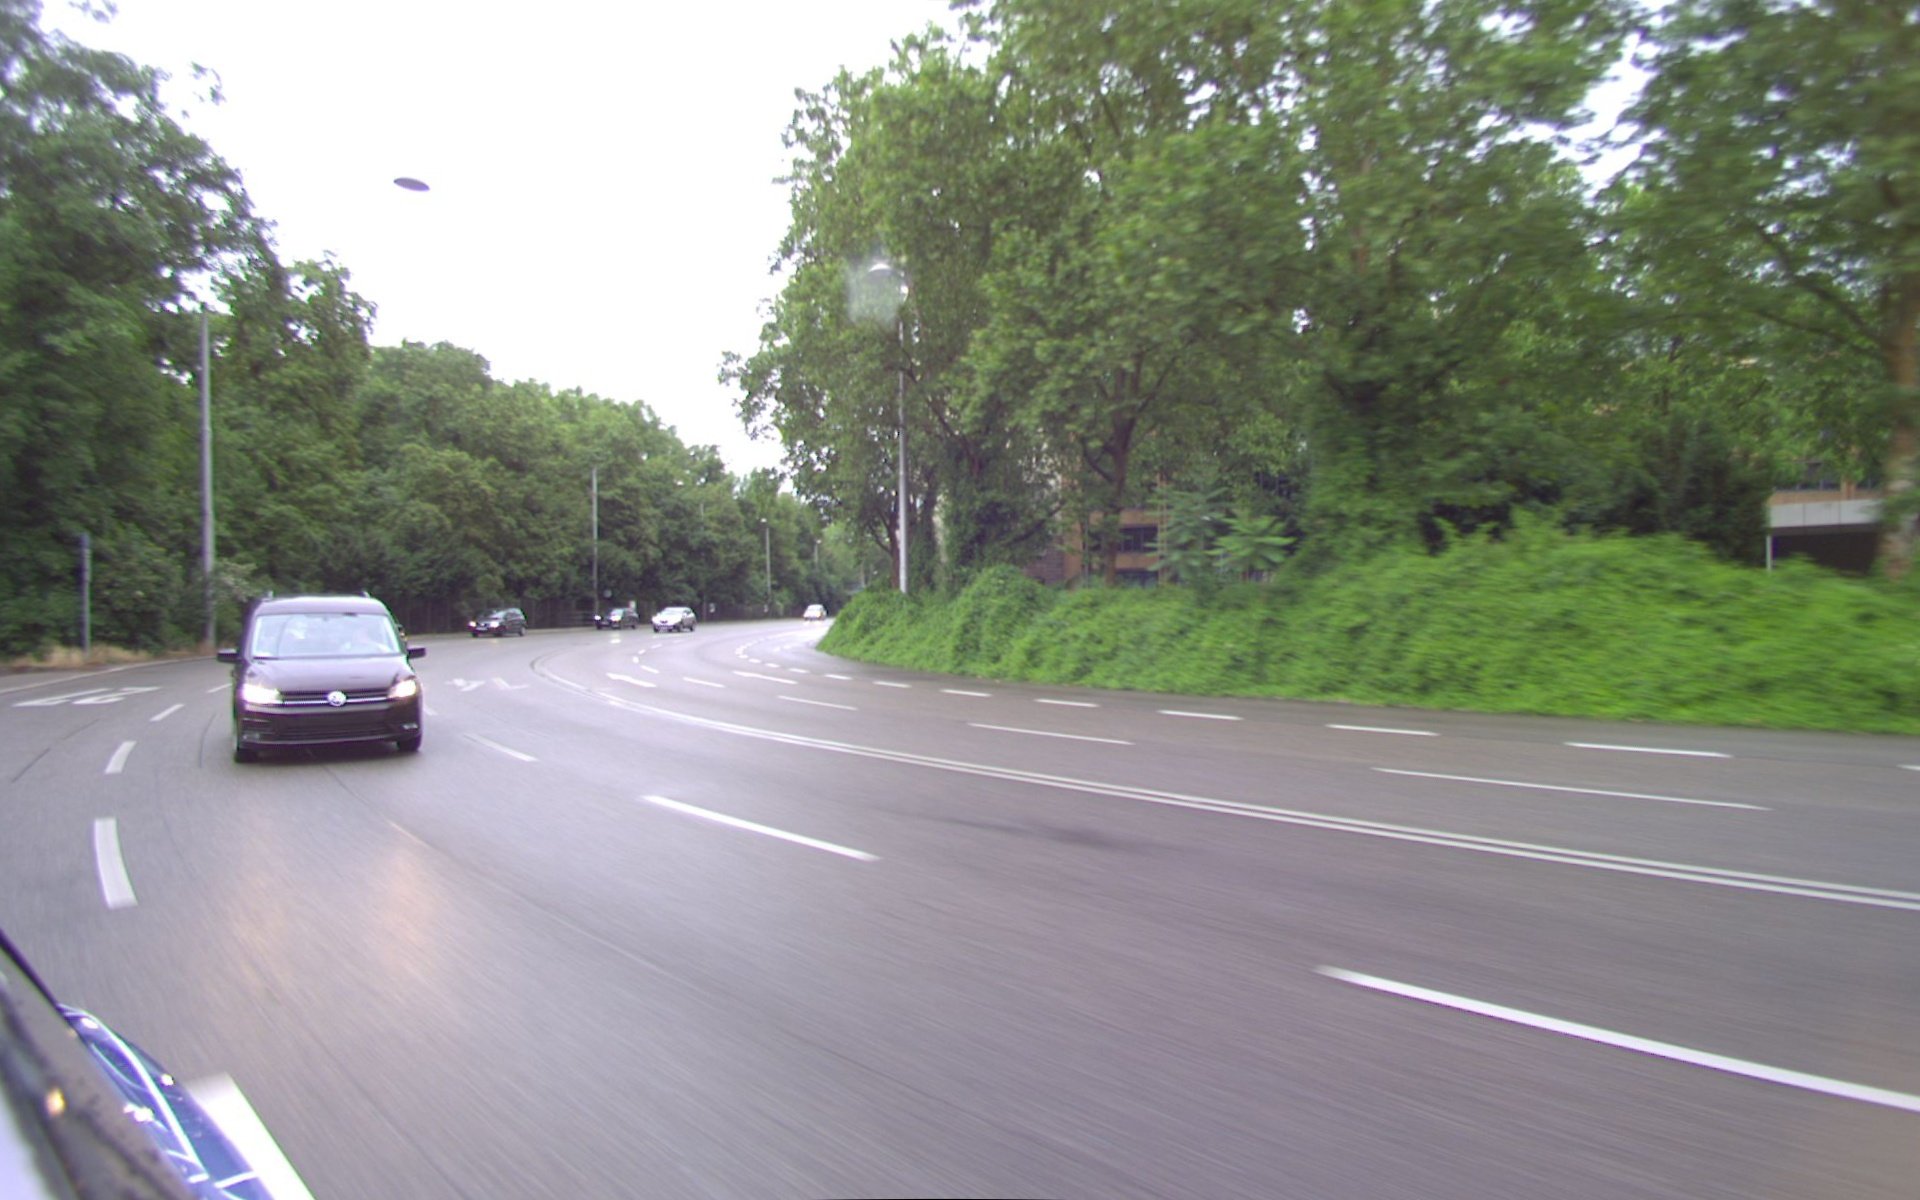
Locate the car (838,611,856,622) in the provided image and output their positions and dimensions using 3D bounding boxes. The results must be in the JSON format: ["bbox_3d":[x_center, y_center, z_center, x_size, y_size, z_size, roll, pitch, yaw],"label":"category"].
[{"bbox_3d":[-15.599,2.244,139.763,1.900,1.532,3.900,-1,0,1],"label":"car"}]

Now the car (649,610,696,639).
[{"bbox_3d":[-18.987,1.598,66.996,1.971,1.758,4.657,-1,0,-2],"label":"car"}]

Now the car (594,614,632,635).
[{"bbox_3d":[-24.437,1.709,71.402,1.561,1.343,3.105,-1,0,2],"label":"car"}]

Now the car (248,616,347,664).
[{"bbox_3d":[-22.203,1.290,34.073,1.765,1.464,4.012,0,0,-17],"label":"car"}]

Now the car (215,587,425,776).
[{"bbox_3d":[-7.522,0.841,11.939,1.766,1.813,4.136,1,-2,-33],"label":"car"}]

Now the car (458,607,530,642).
[{"bbox_3d":[-24.906,1.267,54.241,1.973,1.758,3.998,-1,0,1],"label":"car"}]

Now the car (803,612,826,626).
[{"bbox_3d":[-16.614,2.165,115.997,1.902,1.532,3.897,-1,0,3],"label":"car"}]
